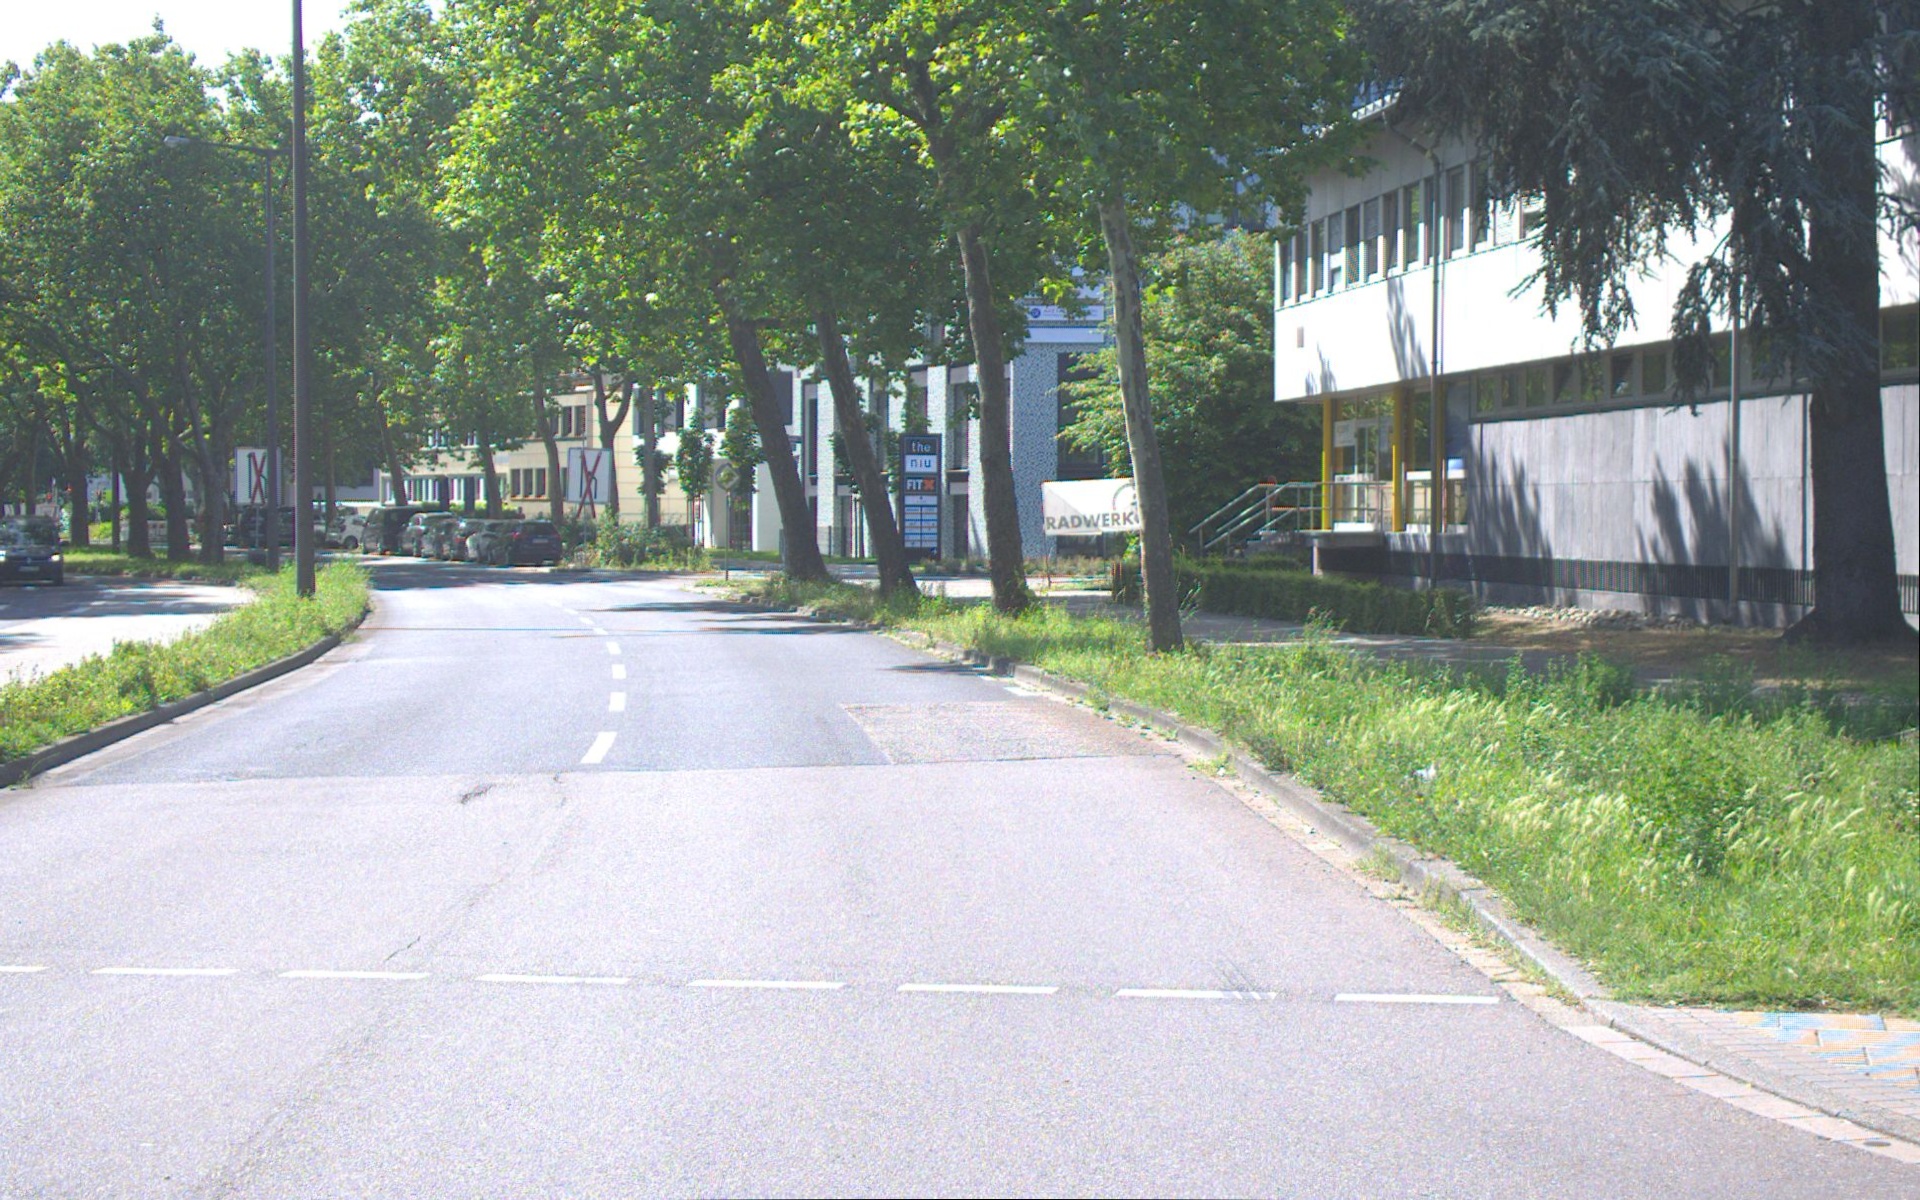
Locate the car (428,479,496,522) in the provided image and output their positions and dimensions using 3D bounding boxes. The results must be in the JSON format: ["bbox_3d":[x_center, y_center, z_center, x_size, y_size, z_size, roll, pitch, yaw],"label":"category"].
[{"bbox_3d":[-17.447,-3.509,120.338,1.706,1.450,4.657,-1,2,-16],"label":"car"}]

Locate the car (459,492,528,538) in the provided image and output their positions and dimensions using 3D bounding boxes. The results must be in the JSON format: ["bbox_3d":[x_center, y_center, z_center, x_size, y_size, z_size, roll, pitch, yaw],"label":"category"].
[{"bbox_3d":[-15.702,-2.878,115.541,1.706,1.482,4.102,-1,2,-16],"label":"car"}]

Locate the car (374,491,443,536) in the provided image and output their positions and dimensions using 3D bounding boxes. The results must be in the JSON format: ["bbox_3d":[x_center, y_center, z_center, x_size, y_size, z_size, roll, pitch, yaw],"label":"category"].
[{"bbox_3d":[-21.299,-3.347,132.683,1.706,1.663,4.535,-1,2,-21],"label":"car"}]

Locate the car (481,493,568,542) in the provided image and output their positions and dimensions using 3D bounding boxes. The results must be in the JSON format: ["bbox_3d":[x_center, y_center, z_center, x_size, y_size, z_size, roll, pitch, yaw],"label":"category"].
[{"bbox_3d":[-13.959,-2.663,110.049,1.706,1.482,4.721,-2,3,-20],"label":"car"}]

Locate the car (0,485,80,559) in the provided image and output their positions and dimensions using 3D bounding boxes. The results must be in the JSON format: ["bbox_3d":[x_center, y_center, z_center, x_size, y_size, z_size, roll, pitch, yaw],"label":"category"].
[{"bbox_3d":[-24.150,-2.067,89.801,1.685,1.832,4.996,-1,2,-8],"label":"car"}]
